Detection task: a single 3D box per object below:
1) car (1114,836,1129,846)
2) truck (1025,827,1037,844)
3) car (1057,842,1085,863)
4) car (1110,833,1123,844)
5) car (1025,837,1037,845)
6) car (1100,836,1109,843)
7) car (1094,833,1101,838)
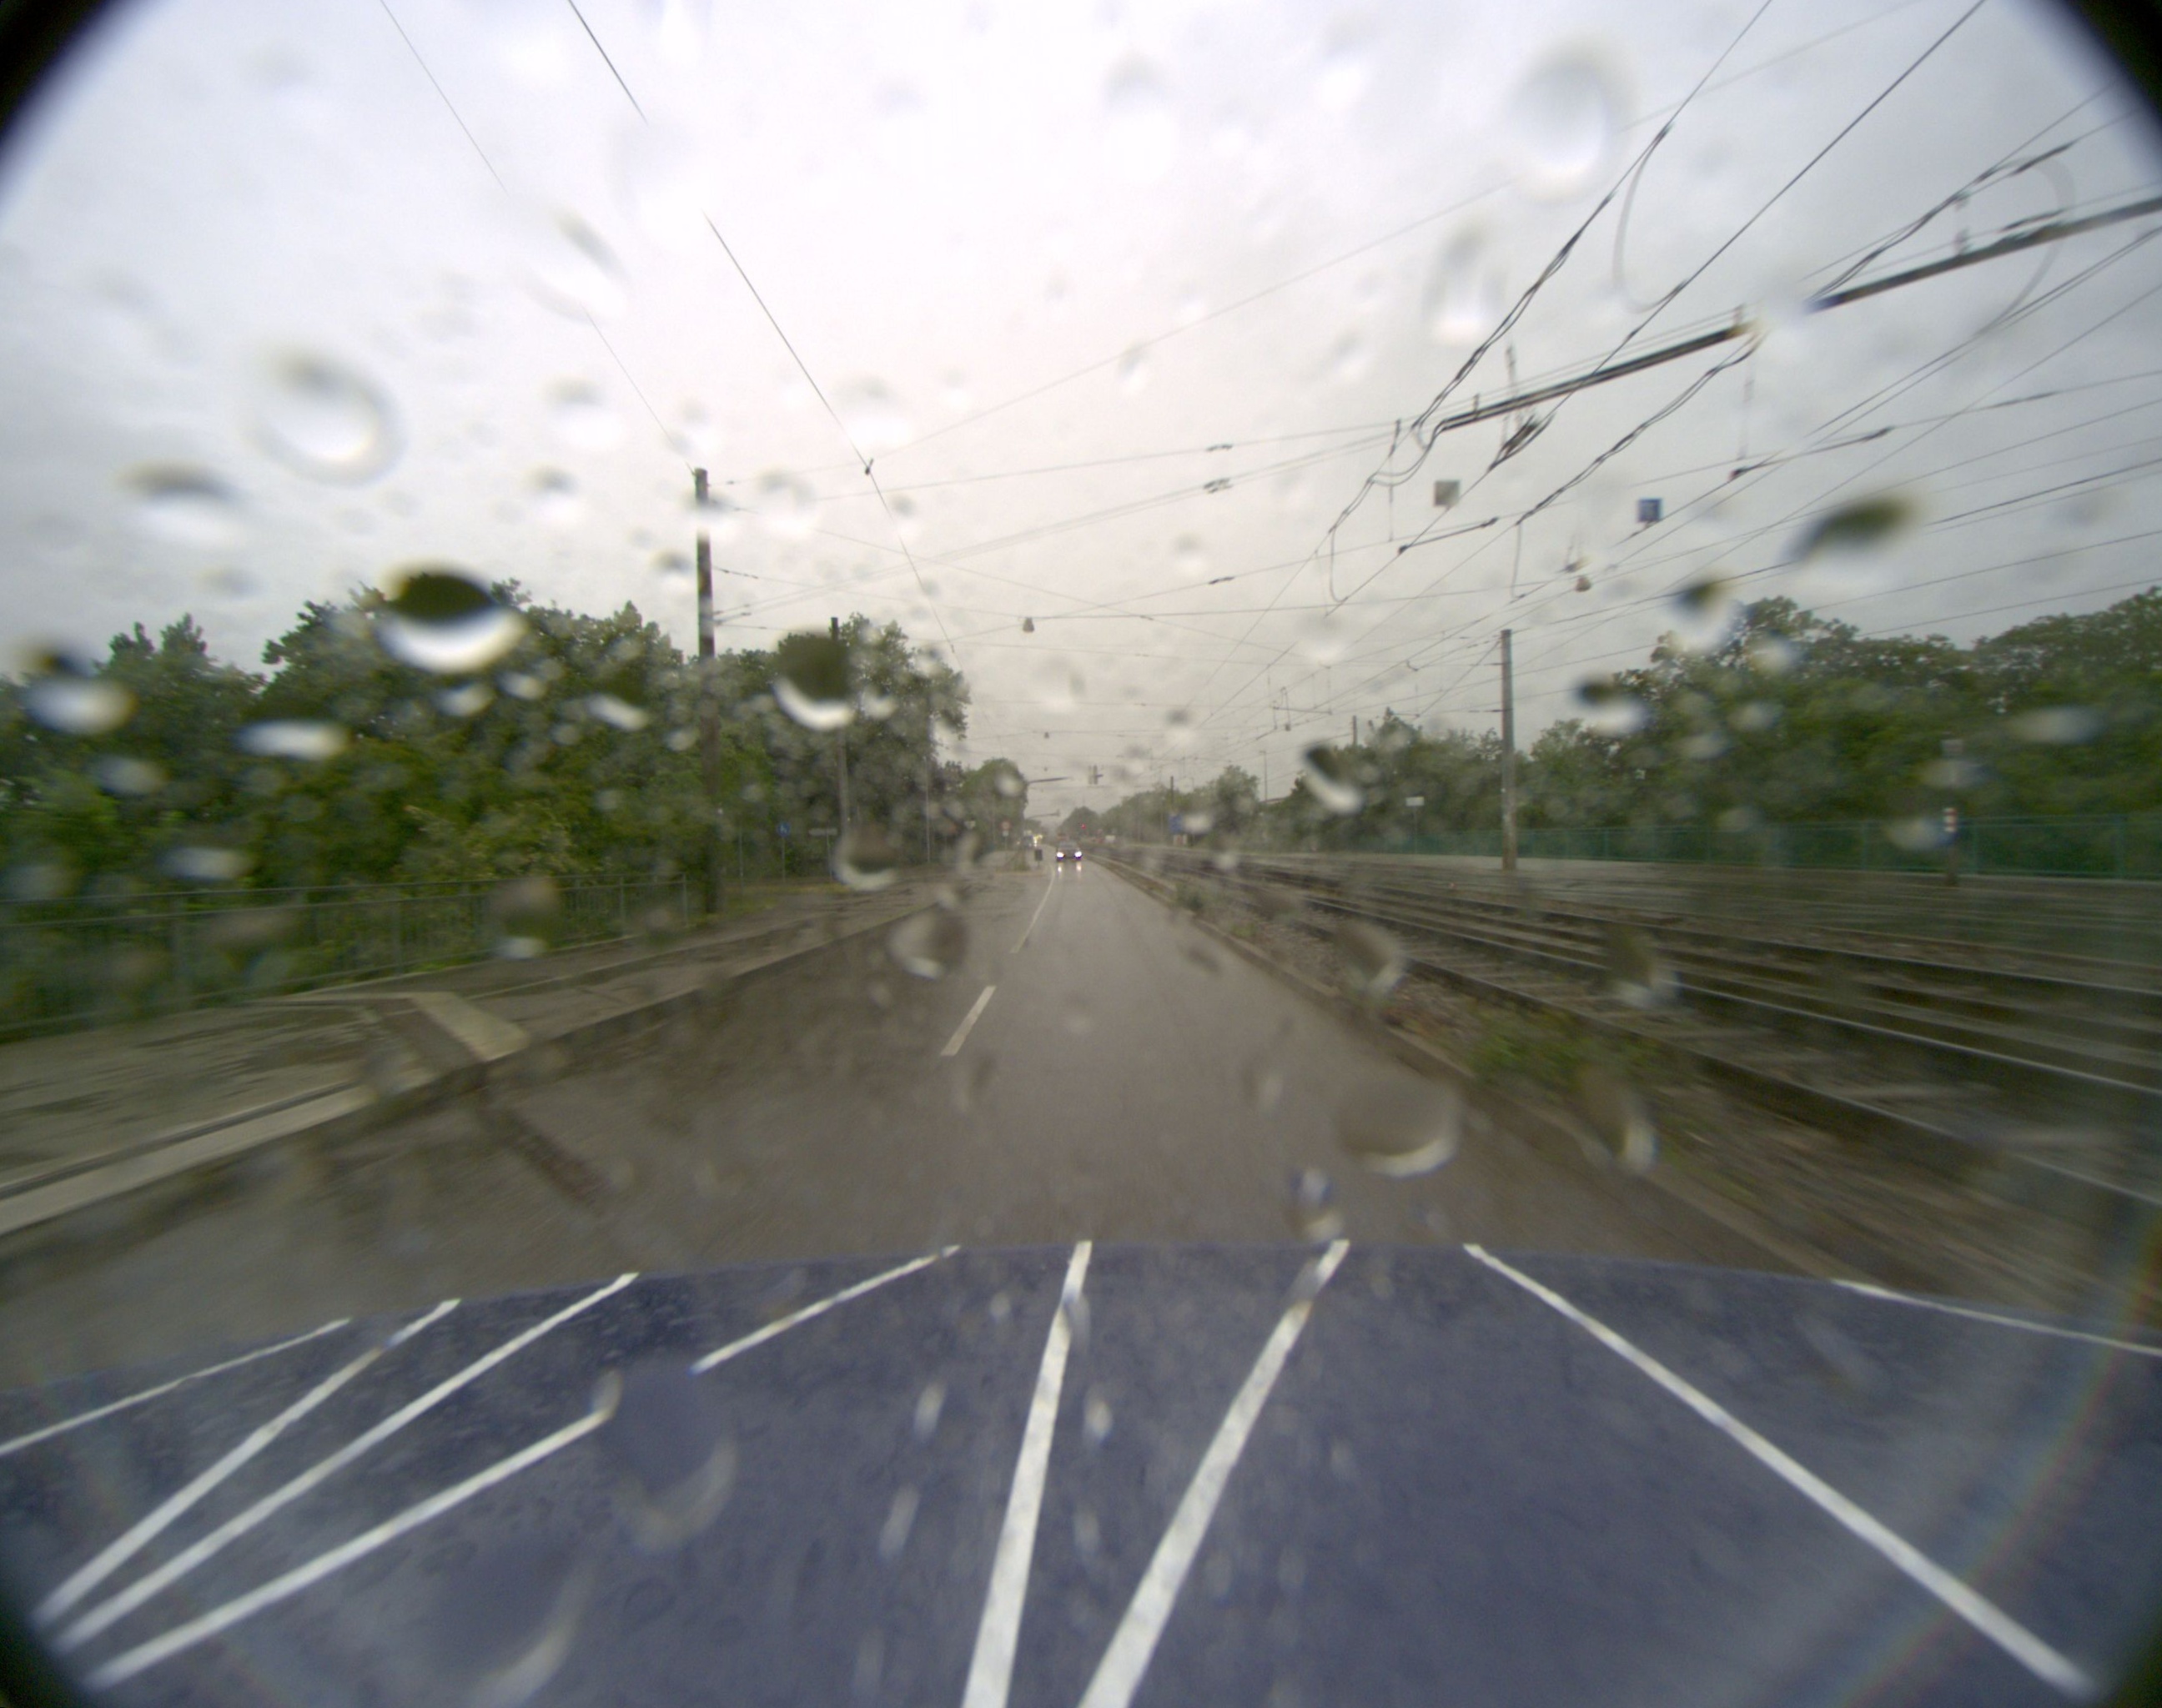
[{"bbox_3d":[7.213,-2.311,137.101,1.999,1.639,5.368,-3,2,-4],"label":"car"},{"bbox_3d":[-12.015,-4.439,181.999,2.568,3.848,7.842,-3,1,-3],"label":"truck"},{"bbox_3d":[-0.838,-0.134,61.629,1.999,1.497,4.194,-3,1,-4],"label":"car"},{"bbox_3d":[7.136,-3.167,154.765,1.999,2.032,5.025,-3,2,-4],"label":"car"},{"bbox_3d":[-9.496,-2.487,144.428,1.999,1.395,4.194,-3,1,-4],"label":"car"},{"bbox_3d":[5.401,-3.406,177.476,1.729,1.592,3.648,-3,2,-4],"label":"car"},{"bbox_3d":[5.551,-6.190,254.566,1.999,1.639,5.368,-3,2,-4],"label":"car"}]
